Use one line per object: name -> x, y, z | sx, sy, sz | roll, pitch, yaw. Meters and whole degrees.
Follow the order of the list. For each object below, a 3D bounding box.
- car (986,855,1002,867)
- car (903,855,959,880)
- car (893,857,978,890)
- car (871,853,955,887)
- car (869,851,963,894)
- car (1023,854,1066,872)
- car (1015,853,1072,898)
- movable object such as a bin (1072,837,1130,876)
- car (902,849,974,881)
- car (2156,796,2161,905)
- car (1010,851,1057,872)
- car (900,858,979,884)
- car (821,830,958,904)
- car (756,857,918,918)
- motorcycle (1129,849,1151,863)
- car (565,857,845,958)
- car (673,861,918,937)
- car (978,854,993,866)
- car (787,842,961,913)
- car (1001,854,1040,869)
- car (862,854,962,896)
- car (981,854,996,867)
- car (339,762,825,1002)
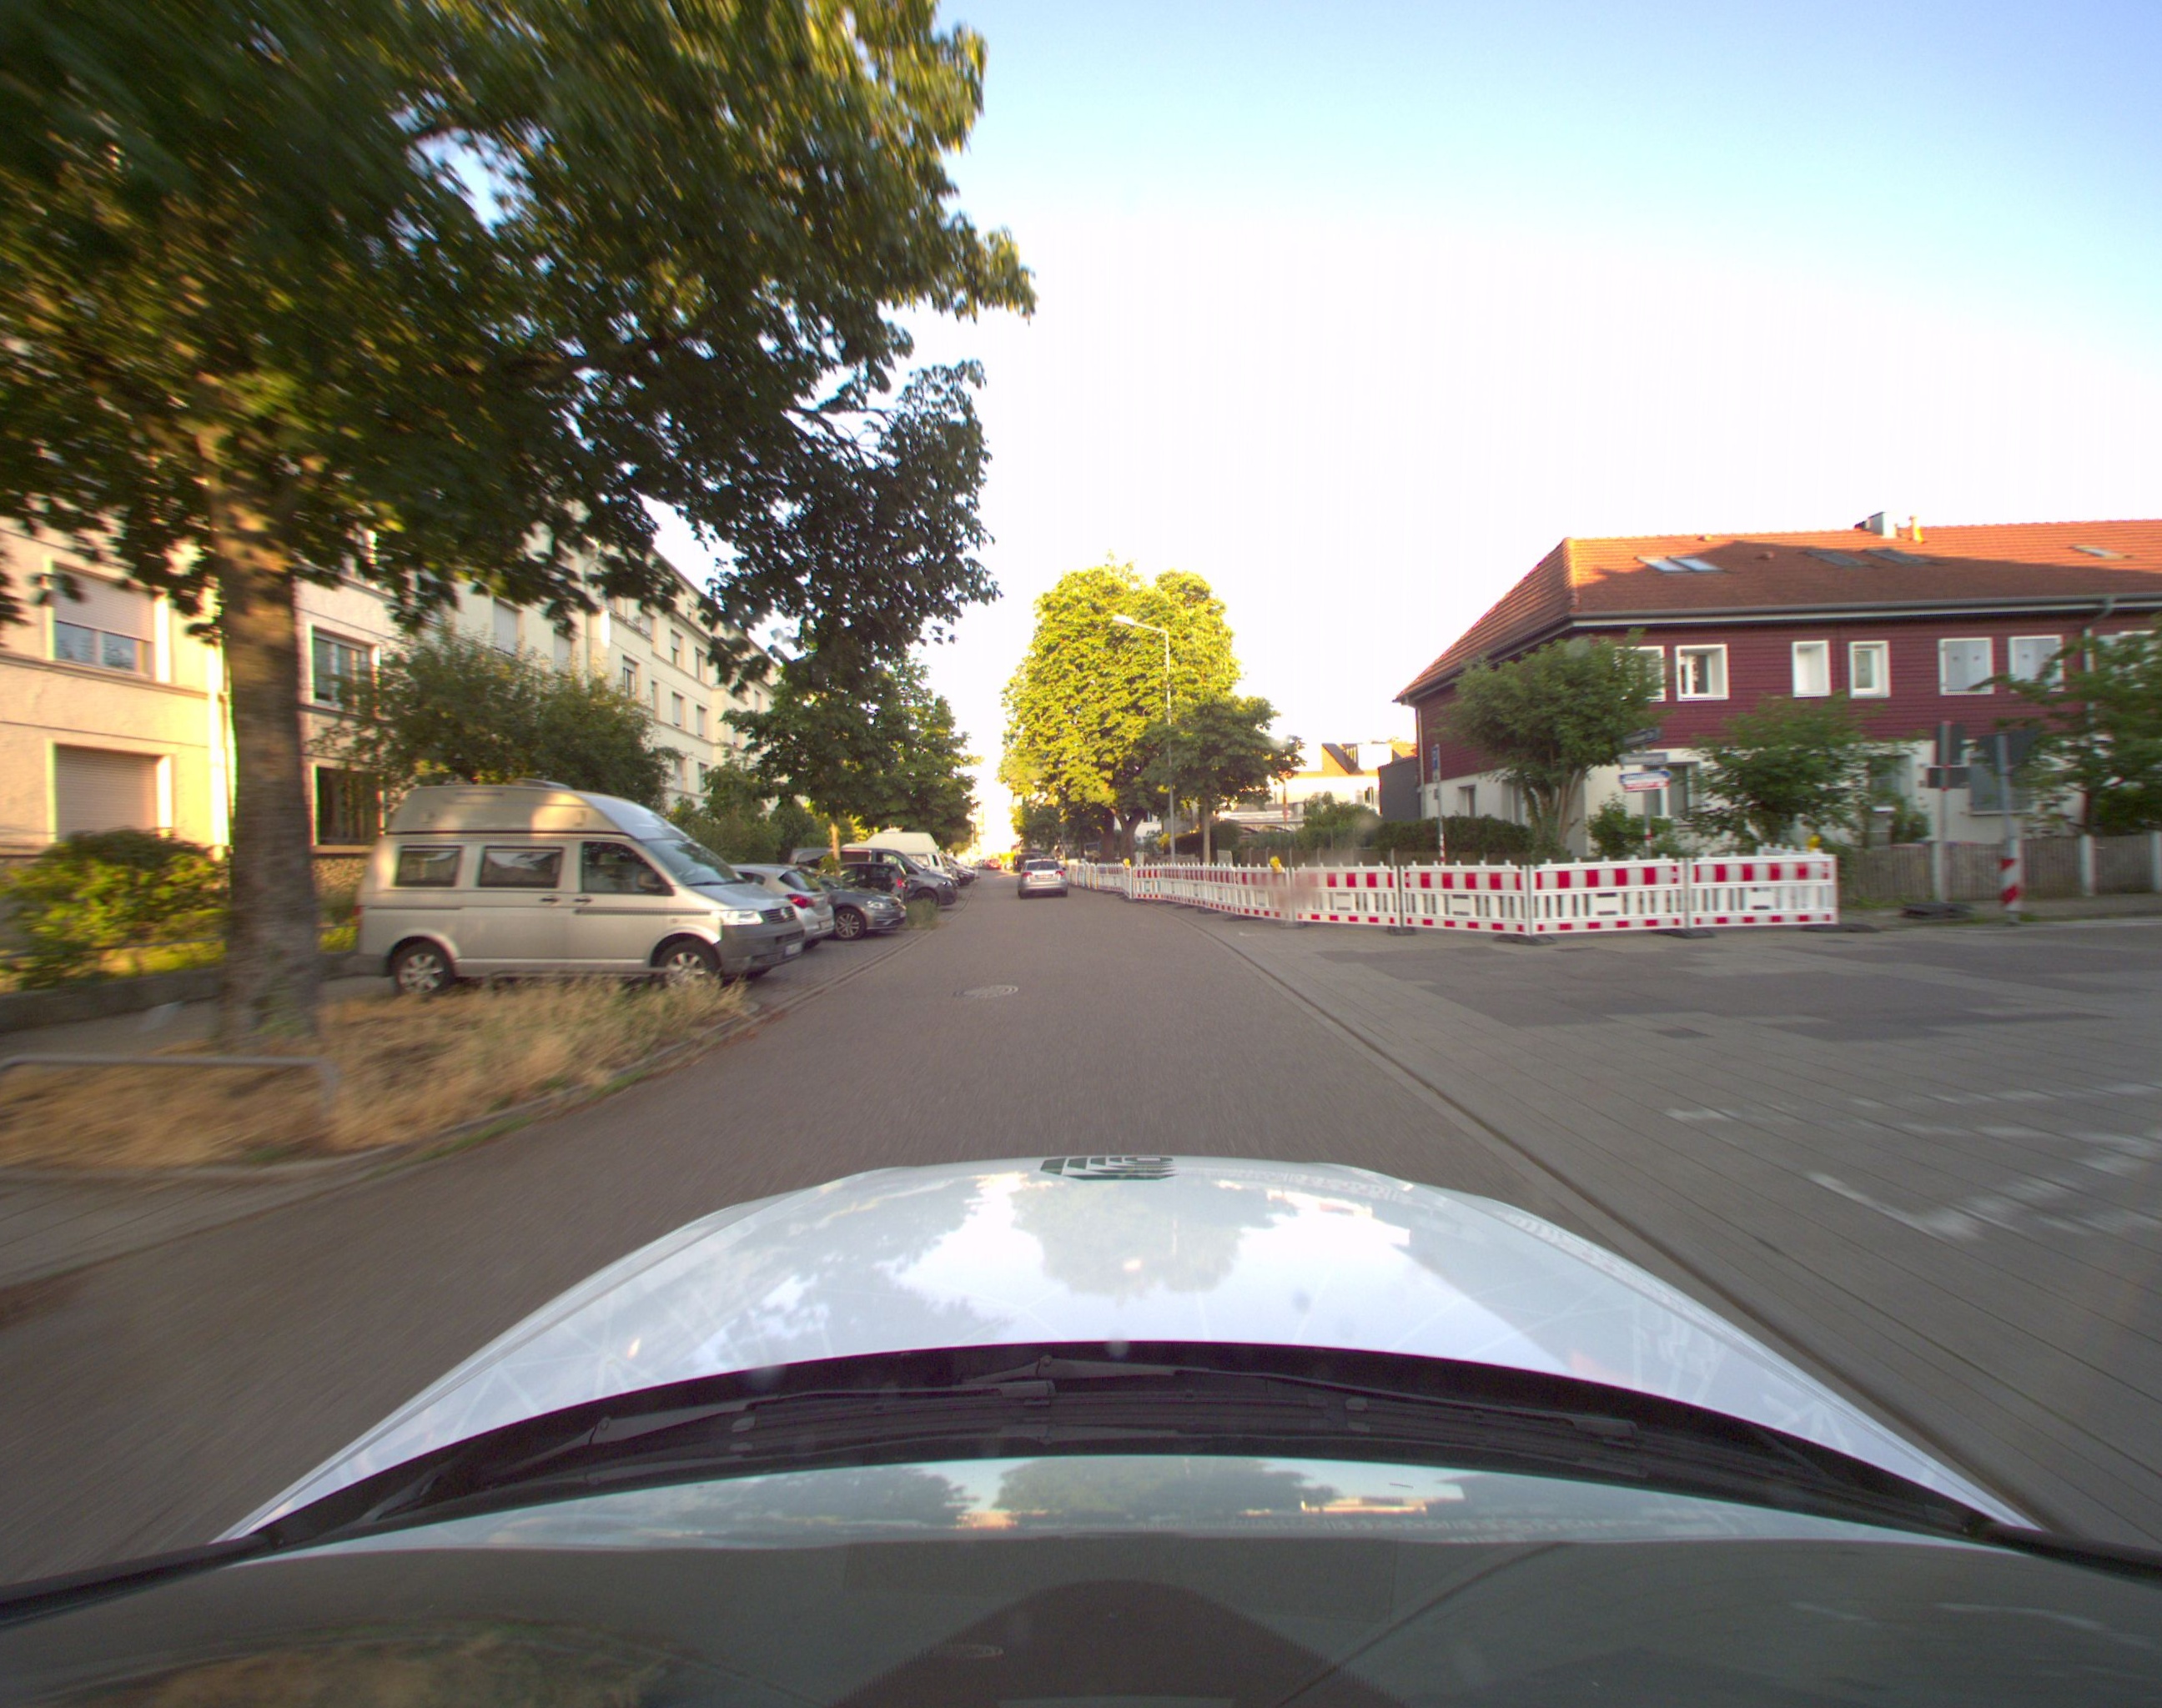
car -> -10.969, 0.846, 102.598 | 1.731, 1.483, 3.543 | -2, 0, -12
car -> -9.793, 0.881, 53.430 | 3.410, 1.483, 1.755 | -2, 0, -6
car -> -7.877, 1.016, 44.060 | 4.409, 1.615, 1.892 | -2, 0, -12
car -> -8.539, 0.789, 41.660 | 3.983, 1.583, 1.727 | -2, 0, -7
car -> -7.334, 0.816, 36.459 | 3.853, 1.777, 1.840 | -1, 0, -5
car -> -3.630, 0.834, 80.887 | 3.999, 1.651, 1.754 | -2, 0, -19
car -> -1.467, 0.756, 30.693 | 1.806, 1.488, 3.991 | -3, 0, -7
movable object such as a bin -> 1.251, 0.157, 54.291 | 2.631, 2.402, 5.175 | -2, 0, -13
car -> -9.756, 0.755, 55.870 | 4.770, 2.013, 1.994 | -2, 0, -9
car -> 18.535, -0.103, 11.579 | 3.976, 1.663, 1.999 | -1, 0, -2
car -> -5.030, 0.800, 85.429 | 4.567, 2.023, 2.089 | -2, 0, -16
car -> -8.764, 1.066, 50.869 | 4.769, 1.470, 1.876 | -2, -1, -8
car -> -6.767, 0.432, 29.209 | 4.496, 2.431, 1.996 | -1, 0, -6
car -> -6.305, 0.851, 21.380 | 3.762, 1.439, 1.653 | -1, 0, -5
motorcycle -> 4.920, 0.148, 67.593 | 1.855, 1.105, 0.575 | -2, 0, -35
car -> -6.010, 0.825, 13.361 | 3.793, 1.522, 1.651 | 0, 0, -2
car -> -5.526, 0.860, 16.148 | 4.230, 1.394, 1.684 | 0, 0, 0
car -> -13.219, 0.841, 112.671 | 1.810, 1.612, 3.566 | -2, 0, -12
car -> -5.982, 0.655, 24.087 | 4.667, 1.873, 1.996 | -2, 0, -6
car -> -7.071, 0.844, 95.275 | 4.161, 1.572, 1.786 | -2, 0, -19
car -> -7.047, 0.856, 34.174 | 3.853, 1.595, 1.783 | -1, 0, -5
car -> -12.241, 0.841, 107.916 | 1.665, 1.573, 3.426 | -1, 0, -12
car -> -5.890, 0.312, 10.086 | 4.714, 2.569, 2.001 | -1, 0, 1
